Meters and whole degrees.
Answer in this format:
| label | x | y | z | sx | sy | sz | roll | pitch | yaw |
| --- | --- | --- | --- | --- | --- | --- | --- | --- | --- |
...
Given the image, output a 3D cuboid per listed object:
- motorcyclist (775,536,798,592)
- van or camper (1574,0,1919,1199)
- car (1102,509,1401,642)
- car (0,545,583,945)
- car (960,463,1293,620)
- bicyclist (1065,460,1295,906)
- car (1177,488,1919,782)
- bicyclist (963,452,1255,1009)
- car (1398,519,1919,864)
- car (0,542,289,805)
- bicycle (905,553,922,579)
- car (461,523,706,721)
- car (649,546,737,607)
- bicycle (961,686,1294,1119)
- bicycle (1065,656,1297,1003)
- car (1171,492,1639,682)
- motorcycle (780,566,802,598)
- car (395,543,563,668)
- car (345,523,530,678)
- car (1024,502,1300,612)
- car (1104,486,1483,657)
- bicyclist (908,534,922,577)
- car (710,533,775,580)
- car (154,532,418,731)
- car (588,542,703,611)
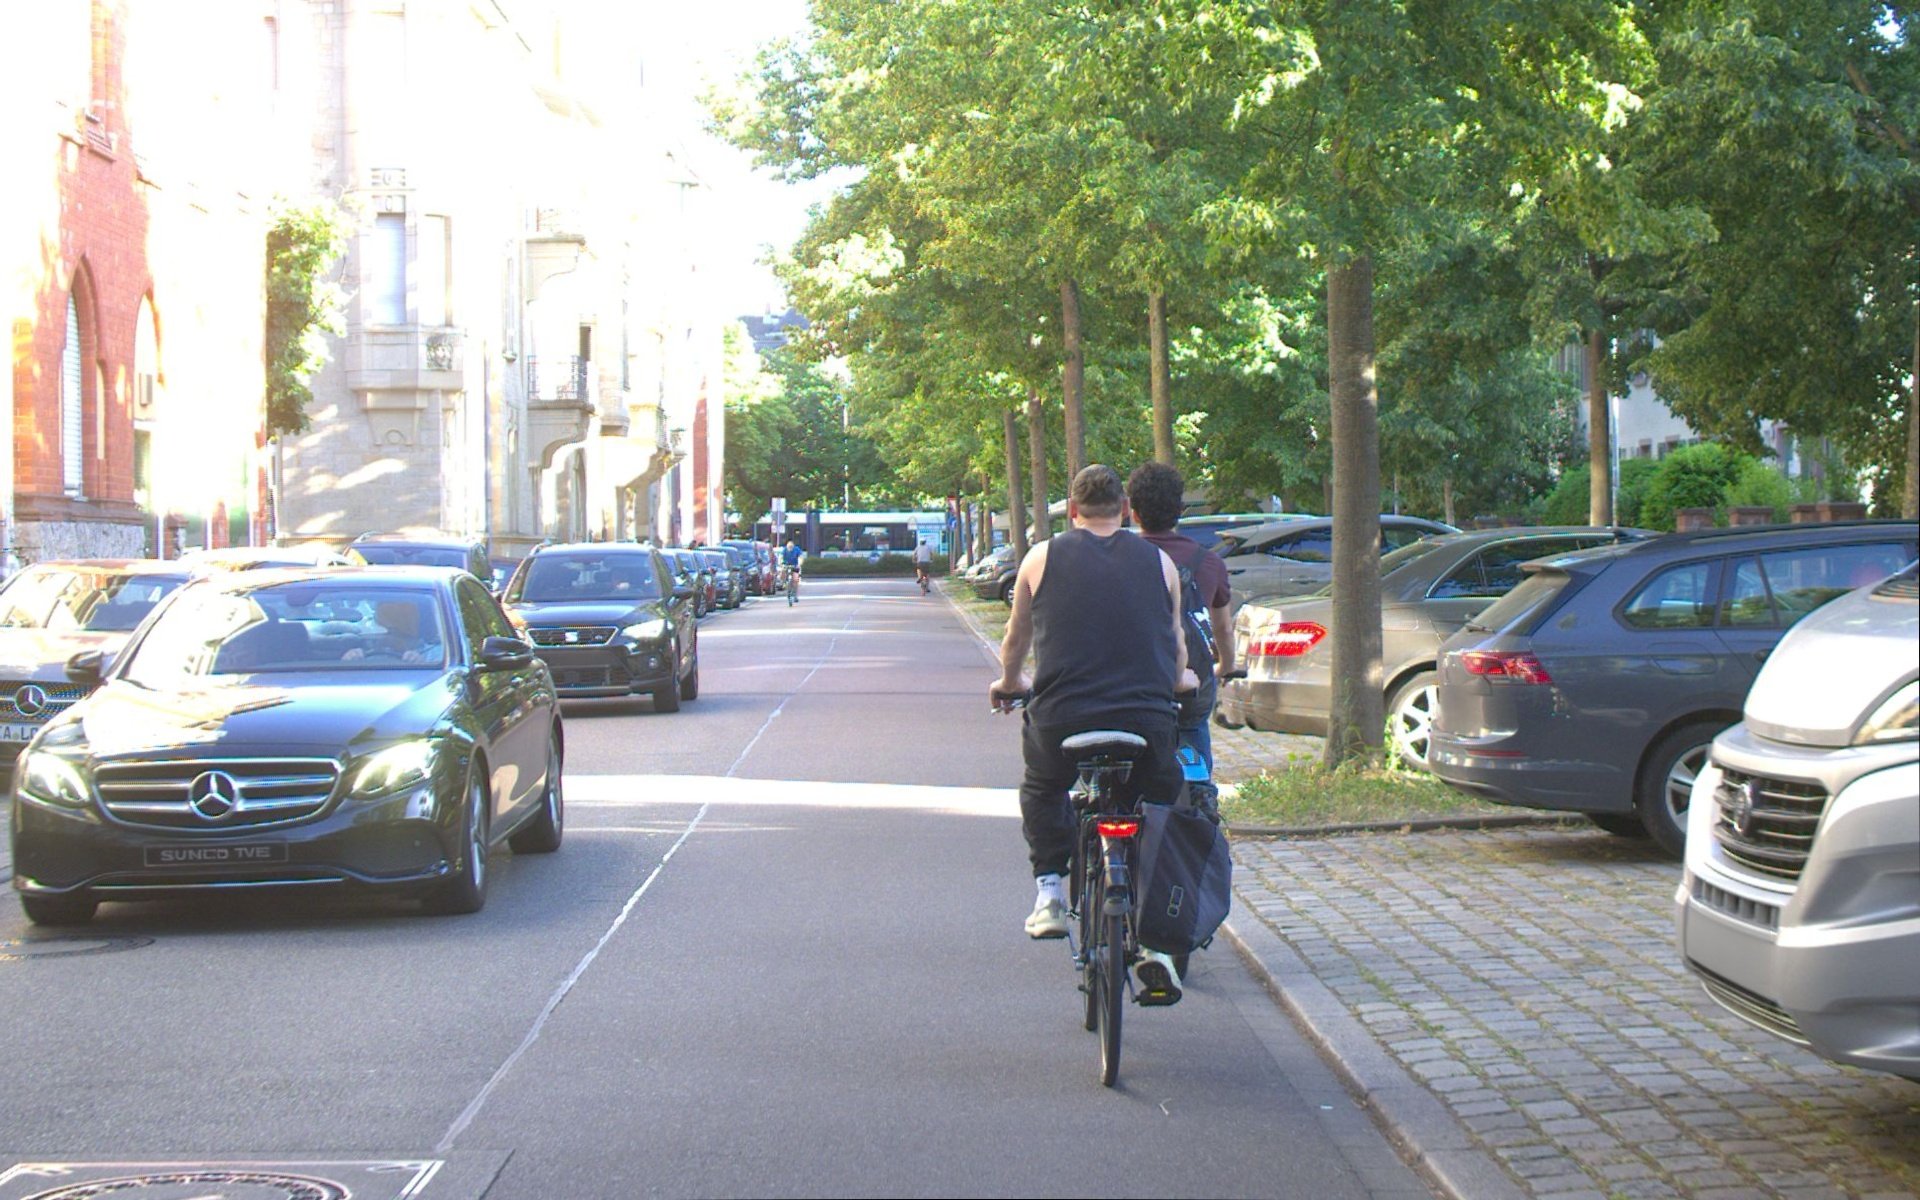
| label | x | y | z | sx | sy | sz | roll | pitch | yaw |
| --- | --- | --- | --- | --- | --- | --- | --- | --- | --- |
| motorcyclist | -4.518 | -0.938 | 89.479 | 0.551 | 1.443 | 0.688 | -1 | 1 | -3 |
| van or camper | 4.514 | -0.101 | 8.062 | 5.573 | 2.528 | 2.269 | -3 | 0 | -2 |
| car | 4.293 | -0.365 | 51.150 | 4.243 | 1.791 | 1.855 | -2 | 0 | 1 |
| car | -2.838 | 0.546 | 15.114 | 1.896 | 1.481 | 4.382 | -1 | 0 | 0 |
| car | 3.722 | -1.308 | 77.952 | 7.333 | 3.271 | 2.223 | -2 | 0 | 1 |
| bicyclist | 0.770 | 0.284 | 12.298 | 0.718 | 1.521 | 0.972 | -1 | 0 | -1 |
| car | 3.595 | 0.204 | 21.334 | 4.242 | 1.600 | 1.754 | -2 | 0 | -4 |
| bicyclist | 0.411 | 0.355 | 9.937 | 0.706 | 1.521 | 0.972 | -1 | 0 | -5 |
| car | 4.385 | 0.366 | 15.777 | 4.502 | 1.448 | 1.816 | -1 | 0 | 1 |
| car | -5.714 | 0.413 | 22.680 | 1.755 | 1.512 | 4.115 | 3 | 0 | -1 |
| bicycle | -1.494 | -1.102 | 110.898 | 0.541 | 0.825 | 1.919 | 0 | 0 | -1 |
| car | -3.362 | 0.170 | 31.364 | 1.767 | 1.594 | 4.090 | -3 | 0 | -1 |
| car | -6.842 | -0.599 | 88.415 | 1.993 | 1.525 | 4.000 | 0 | 0 | -1 |
| bicycle | 0.439 | 0.812 | 9.955 | 0.696 | 1.069 | 1.969 | -1 | 0 | -5 |
| bicycle | 0.754 | 0.767 | 12.241 | 0.555 | 1.069 | 1.969 | -1 | 1 | -4 |
| car | 4.236 | -0.124 | 33.218 | 4.243 | 1.642 | 1.855 | -2 | 0 | 1 |
| motorcycle | -4.407 | -0.476 | 89.537 | 0.551 | 0.798 | 1.308 | -1 | 1 | -3 |
| car | -6.251 | 0.053 | 45.027 | 1.615 | 1.477 | 4.019 | 3 | 0 | -1 |
| car | -5.926 | 0.005 | 39.352 | 1.630 | 1.660 | 3.969 | -1 | 0 | -2 |
| car | 3.561 | -0.755 | 61.248 | 4.757 | 1.774 | 1.855 | -2 | 0 | 1 |
| car | 3.890 | -0.329 | 40.625 | 4.243 | 1.833 | 1.855 | -2 | 0 | 1 |
| bicyclist | -1.456 | -1.432 | 110.830 | 0.417 | 1.346 | 0.430 | -1 | 0 | -1 |
| car | -7.420 | -1.477 | 117.550 | 1.993 | 1.525 | 4.000 | 0 | 0 | -1 |
| car | -5.690 | 0.237 | 29.377 | 1.491 | 1.512 | 3.775 | 3 | 0 | -1 |
| car | -6.266 | -0.456 | 68.892 | 1.971 | 1.315 | 4.000 | 0 | 0 | -1 |
